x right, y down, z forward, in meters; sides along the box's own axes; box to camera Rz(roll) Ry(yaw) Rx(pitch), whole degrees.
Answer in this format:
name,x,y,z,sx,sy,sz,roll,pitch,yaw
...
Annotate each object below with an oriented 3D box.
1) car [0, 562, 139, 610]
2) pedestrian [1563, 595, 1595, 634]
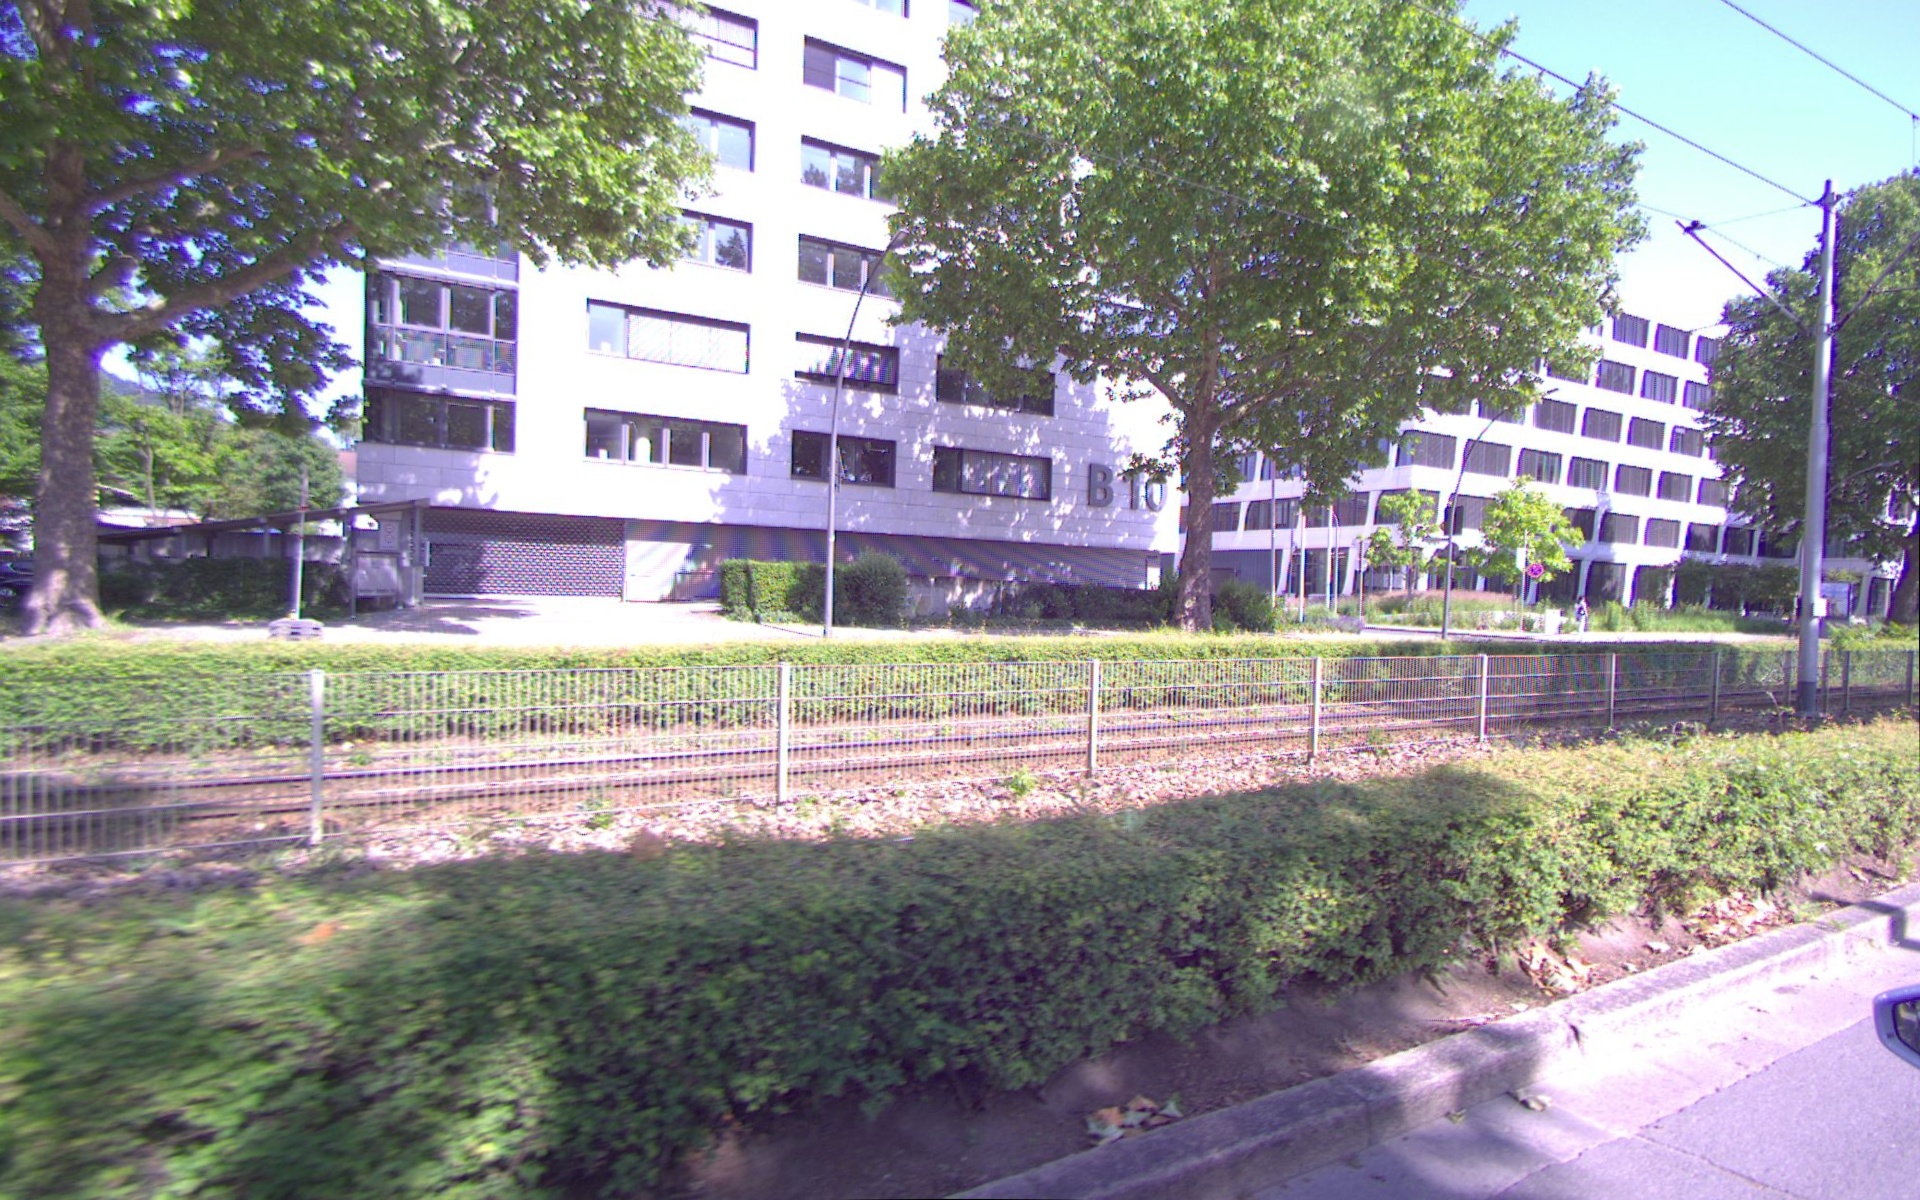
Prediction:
name,x,y,z,sx,sy,sz,roll,pitch,yaw
car,-28.111,-0.437,31.267,3.710,1.373,1.635,1,1,-31
pedestrian,26.805,0.626,43.516,1.002,1.609,0.717,1,2,-29
